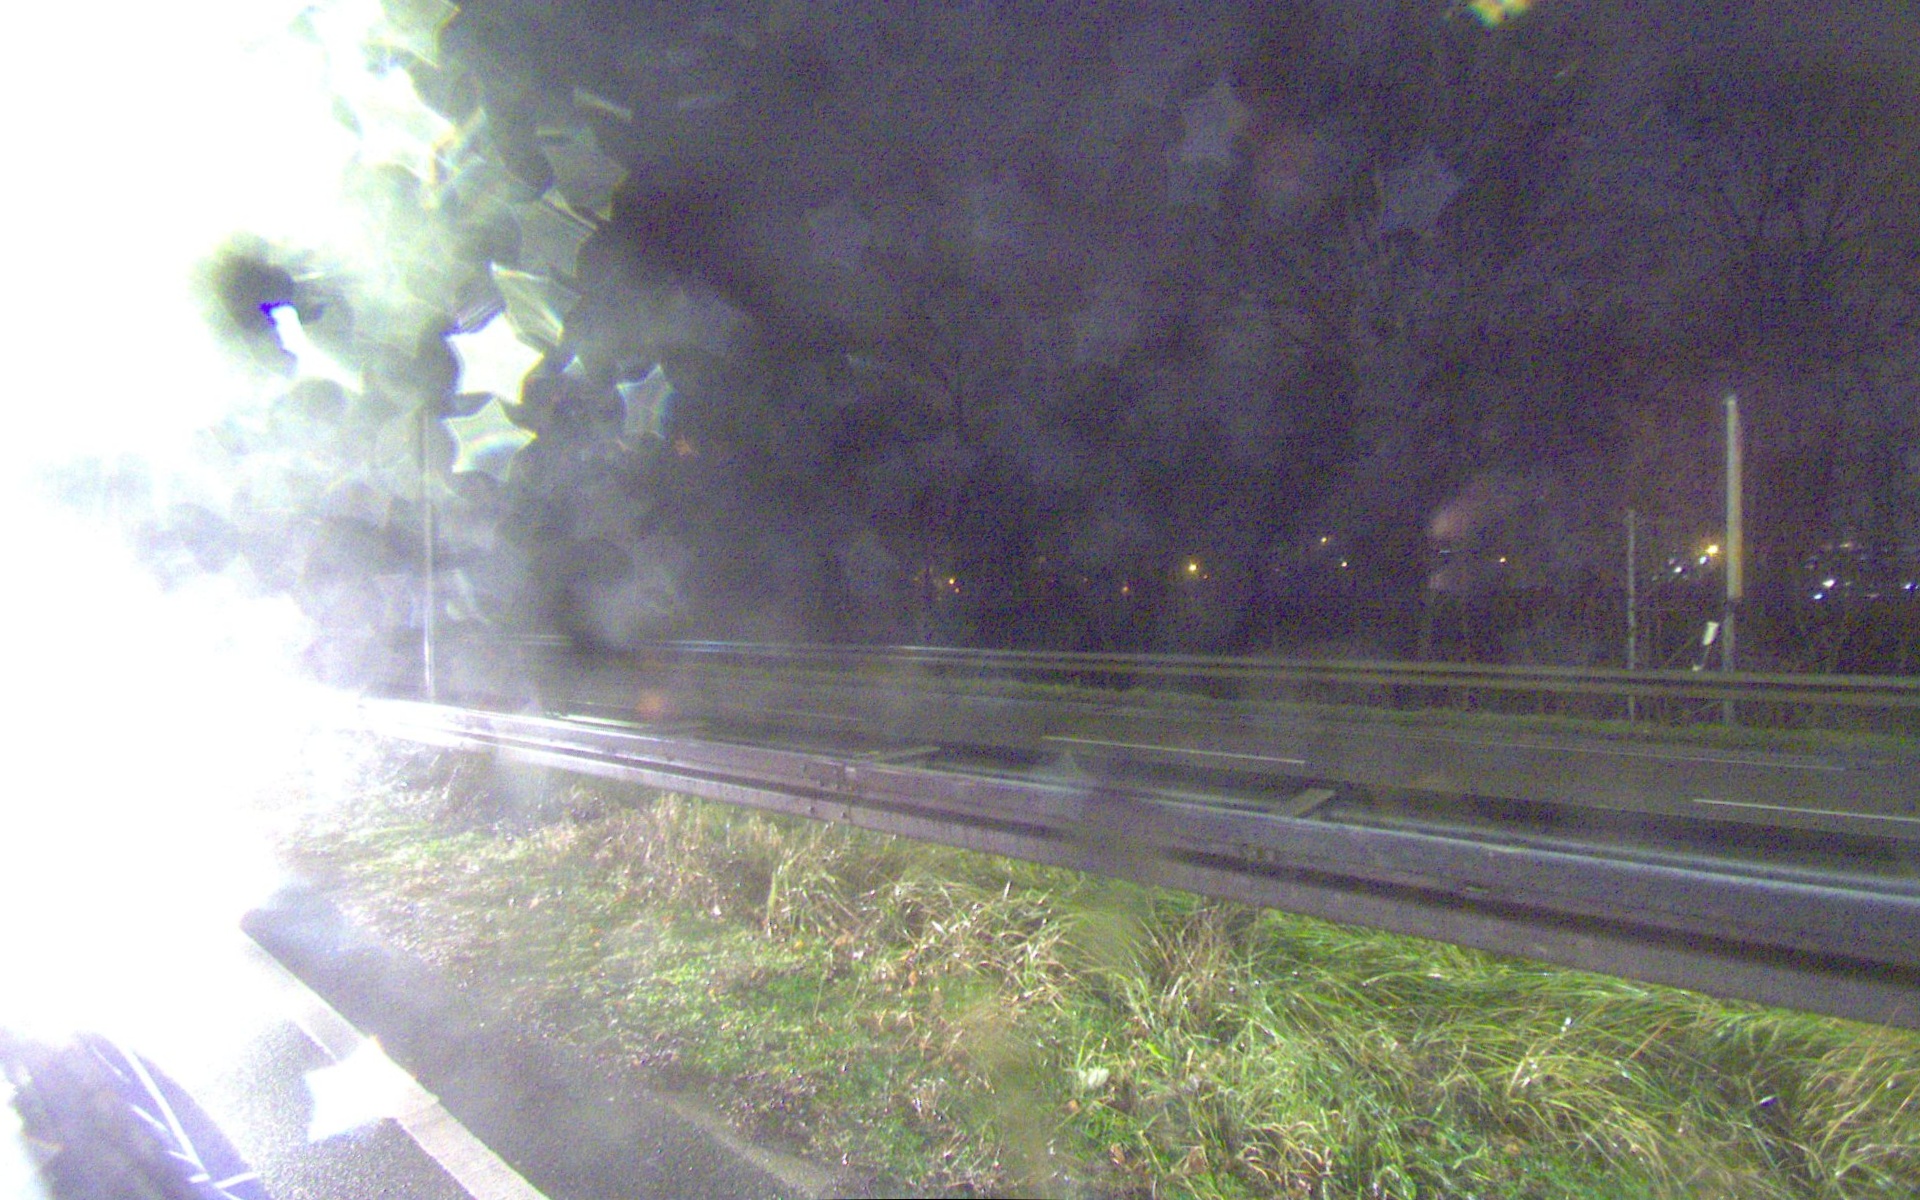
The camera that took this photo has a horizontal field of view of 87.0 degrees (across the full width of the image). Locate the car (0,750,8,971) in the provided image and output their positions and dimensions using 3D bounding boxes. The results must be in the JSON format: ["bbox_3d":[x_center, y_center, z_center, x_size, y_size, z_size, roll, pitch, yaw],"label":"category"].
[{"bbox_3d":[-5.675,0.841,4.700,3.388,1.435,1.478,-1,1,41],"label":"car"}]
